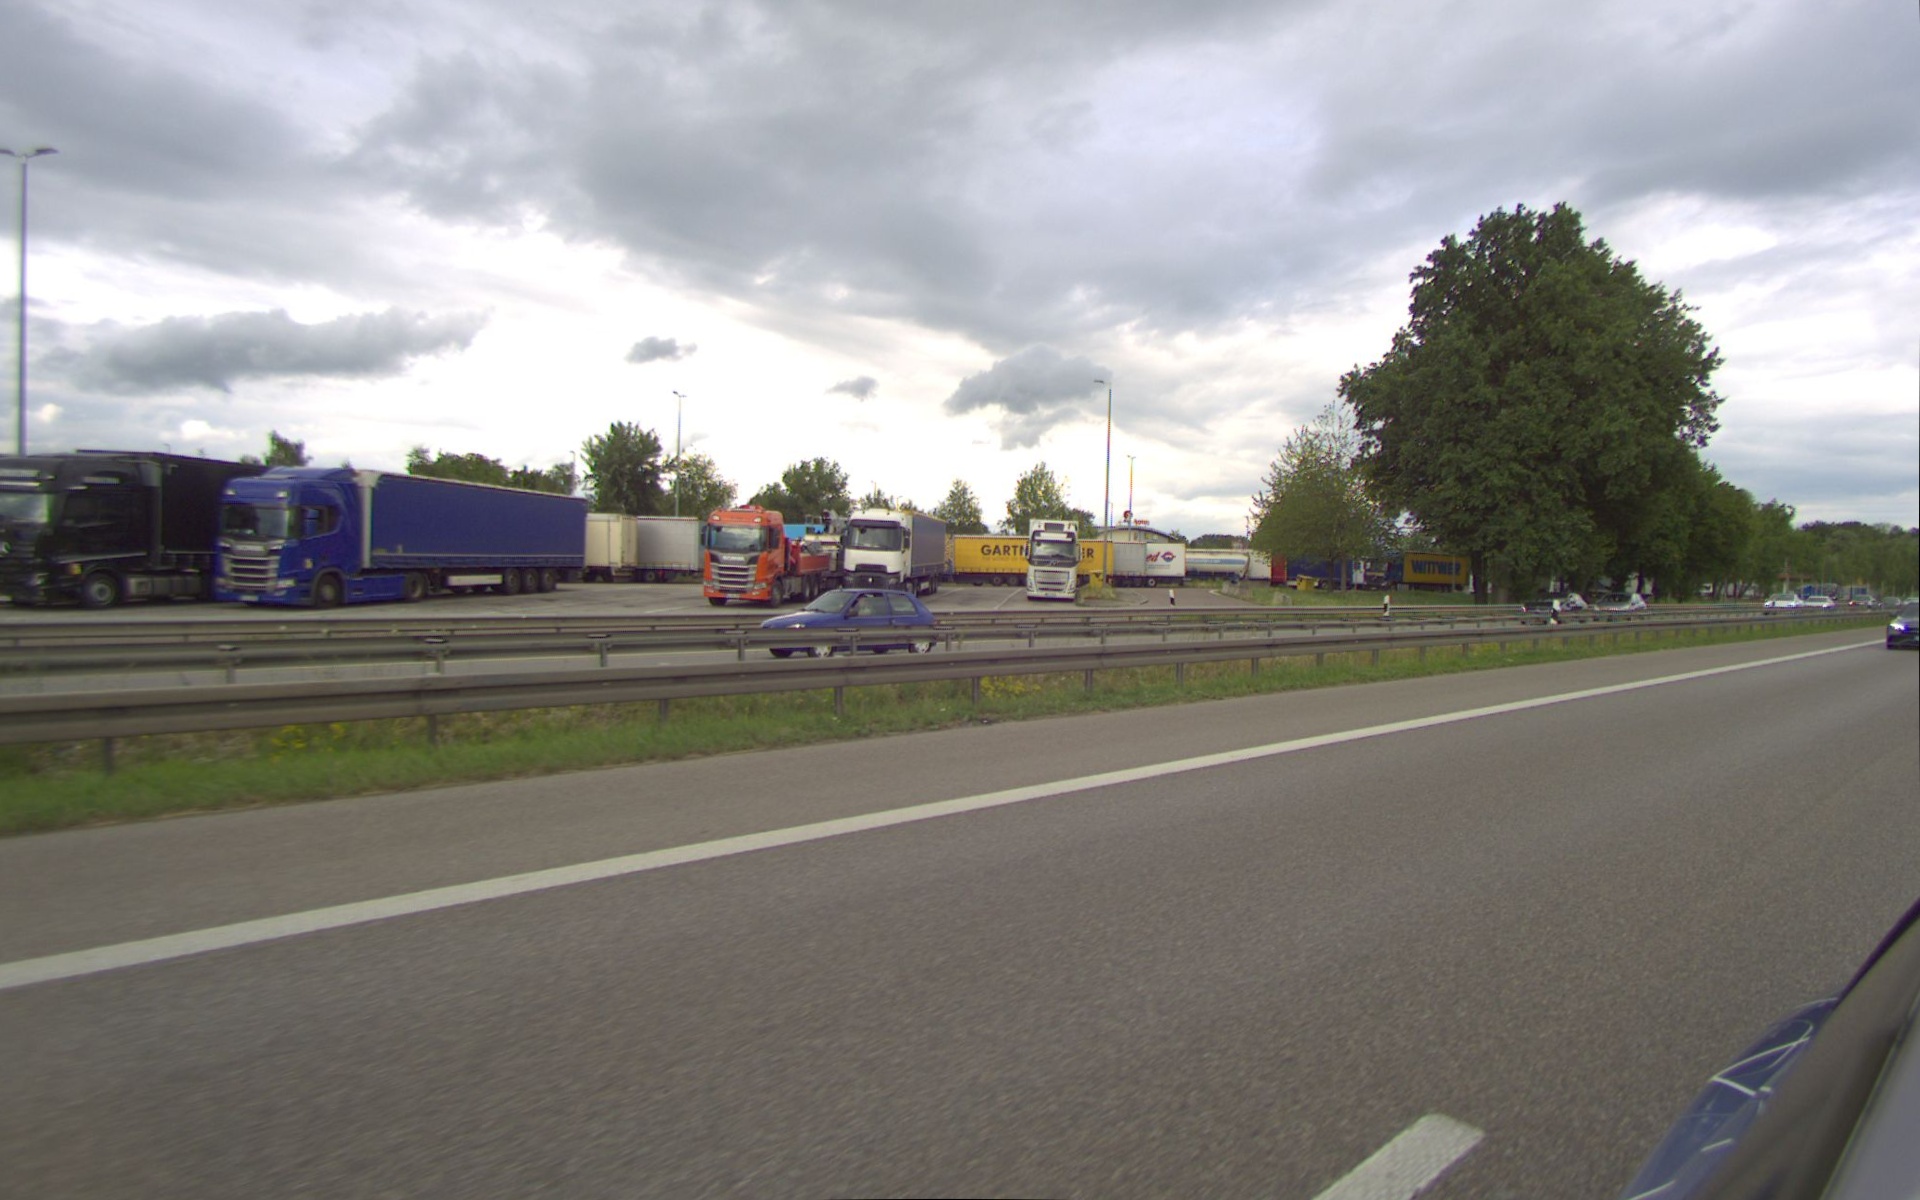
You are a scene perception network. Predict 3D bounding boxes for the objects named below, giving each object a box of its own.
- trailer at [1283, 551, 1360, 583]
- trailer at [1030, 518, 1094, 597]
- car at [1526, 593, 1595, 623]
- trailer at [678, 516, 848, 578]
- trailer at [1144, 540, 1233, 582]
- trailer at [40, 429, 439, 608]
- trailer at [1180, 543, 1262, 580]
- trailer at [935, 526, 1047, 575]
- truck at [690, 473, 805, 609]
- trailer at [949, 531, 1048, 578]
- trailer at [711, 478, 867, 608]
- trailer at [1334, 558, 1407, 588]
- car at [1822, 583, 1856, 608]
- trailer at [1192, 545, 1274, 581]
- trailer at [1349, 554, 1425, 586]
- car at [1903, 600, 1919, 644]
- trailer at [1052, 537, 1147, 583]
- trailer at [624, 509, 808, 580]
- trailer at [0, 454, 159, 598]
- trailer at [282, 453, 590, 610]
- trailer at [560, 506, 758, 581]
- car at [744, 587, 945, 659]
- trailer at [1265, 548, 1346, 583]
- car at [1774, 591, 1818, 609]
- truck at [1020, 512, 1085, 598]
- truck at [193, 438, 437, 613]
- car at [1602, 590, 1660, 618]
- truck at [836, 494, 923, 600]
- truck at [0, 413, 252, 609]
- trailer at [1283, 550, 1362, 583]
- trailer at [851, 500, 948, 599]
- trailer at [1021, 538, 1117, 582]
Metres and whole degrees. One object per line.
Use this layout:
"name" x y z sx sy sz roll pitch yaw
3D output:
"trailer" 40.117 -3.632 112.434 7.452 3.502 2.919 0 0 4
"trailer" 6.010 -2.250 58.166 2.771 4.105 10.929 0 0 10
"car" 26.747 0.344 45.023 3.930 1.230 1.465 0 2 -41
"trailer" -12.811 -3.439 66.360 10.599 3.871 2.921 0 0 2
"trailer" 20.726 -3.526 92.167 7.452 3.660 2.919 0 0 4
"trailer" -22.134 -2.188 32.747 3.109 4.649 12.390 0 0 6
"trailer" 25.493 -3.729 99.192 7.260 3.502 2.919 0 0 4
"trailer" 2.290 -3.531 73.043 7.891 3.286 2.919 0 0 5
"truck" -7.750 -2.076 37.629 2.827 4.682 5.165 0 0 5
"trailer" 3.135 -3.645 82.415 7.885 3.660 2.921 0 0 2
"trailer" -7.034 -2.175 45.143 2.814 4.737 15.787 0 0 6
"trailer" 48.351 -3.182 119.321 7.452 3.502 2.919 0 0 4
"car" 72.558 -0.399 83.531 3.930 2.039 1.605 -1 0 -41
"trailer" 27.712 -3.776 102.891 7.610 3.519 2.919 0 0 4
"trailer" 48.729 -3.423 115.659 7.452 3.502 2.919 0 0 4
"car" 28.626 0.642 29.110 3.930 1.201 1.780 0 2 -41
"trailer" 12.183 -3.489 88.905 7.885 3.848 2.921 0 0 2
"trailer" -14.869 -3.346 62.200 10.599 4.173 2.921 0 0 2
"trailer" -29.297 -2.117 27.590 2.607 4.145 13.771 0 0 8
"trailer" -18.023 -2.082 36.733 3.010 4.637 13.637 0 0 6
"trailer" -17.278 -3.200 58.490 10.599 4.173 2.921 0 0 2
"car" -2.195 0.388 19.641 3.484 1.274 1.795 -1 1 -41
"trailer" 36.072 -3.565 105.834 7.452 3.502 2.919 0 0 4
"car" 61.795 -0.040 74.777 3.809 1.258 1.828 0 2 -40
"truck" 4.847 -2.181 51.904 2.781 4.111 6.430 0 0 10
"truck" -18.704 -1.986 29.890 3.007 4.614 6.077 0 0 6
"car" 33.722 0.176 50.854 3.930 1.322 1.412 0 2 -41
"truck" -3.327 -2.149 43.386 2.623 4.201 5.920 0 0 6
"truck" -22.741 -2.115 27.021 3.113 4.614 6.077 0 0 6
"trailer" 39.017 -3.594 109.144 7.452 3.502 2.919 0 0 4
"trailer" -2.667 -2.198 49.955 2.617 4.165 14.048 0 0 6
"trailer" 9.155 -3.347 85.651 7.885 3.660 2.921 0 0 2
